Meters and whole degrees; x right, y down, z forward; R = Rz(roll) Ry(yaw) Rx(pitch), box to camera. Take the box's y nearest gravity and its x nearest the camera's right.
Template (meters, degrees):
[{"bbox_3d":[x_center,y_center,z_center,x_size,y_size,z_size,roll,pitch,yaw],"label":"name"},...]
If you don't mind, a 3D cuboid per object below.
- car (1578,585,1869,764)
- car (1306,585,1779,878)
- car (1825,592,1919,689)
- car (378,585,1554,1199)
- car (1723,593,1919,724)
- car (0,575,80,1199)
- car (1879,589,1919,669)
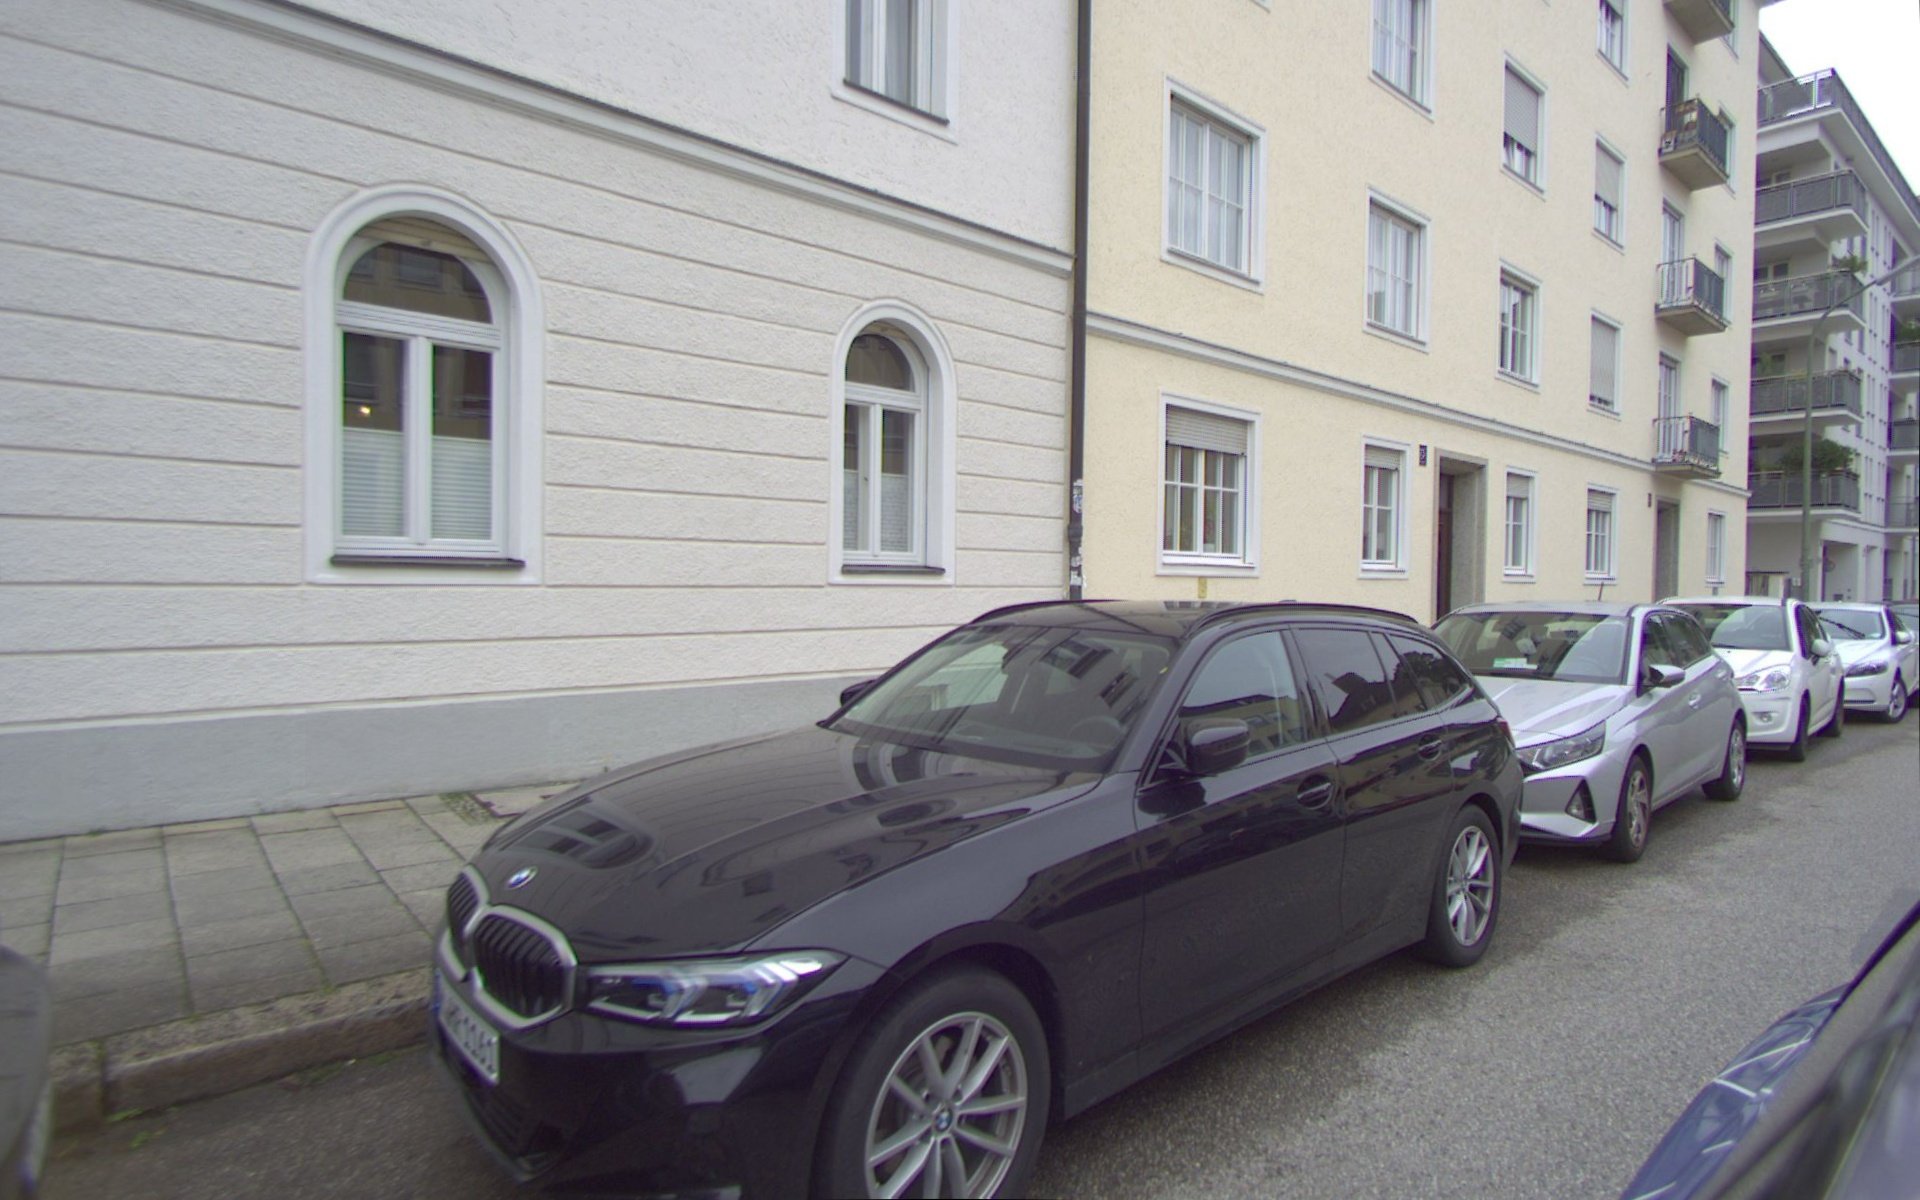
[{"bbox_3d":[8.084,0.601,10.572,4.096,1.500,1.681,-1,1,-42],"label":"car"},{"bbox_3d":[4.235,0.630,7.059,4.096,1.445,1.681,-1,1,-42],"label":"car"},{"bbox_3d":[15.897,0.596,16.846,4.345,1.427,1.682,-1,1,-41],"label":"car"},{"bbox_3d":[0.495,0.676,3.702,4.316,1.445,1.681,-1,1,-42],"label":"car"},{"bbox_3d":[11.679,0.636,13.390,4.366,1.427,1.682,-1,1,-41],"label":"car"},{"bbox_3d":[-3.181,0.697,0.580,4.016,1.445,1.682,-1,1,-41],"label":"car"},{"bbox_3d":[19.995,0.550,20.469,3.757,1.516,1.682,-1,1,-41],"label":"car"}]
